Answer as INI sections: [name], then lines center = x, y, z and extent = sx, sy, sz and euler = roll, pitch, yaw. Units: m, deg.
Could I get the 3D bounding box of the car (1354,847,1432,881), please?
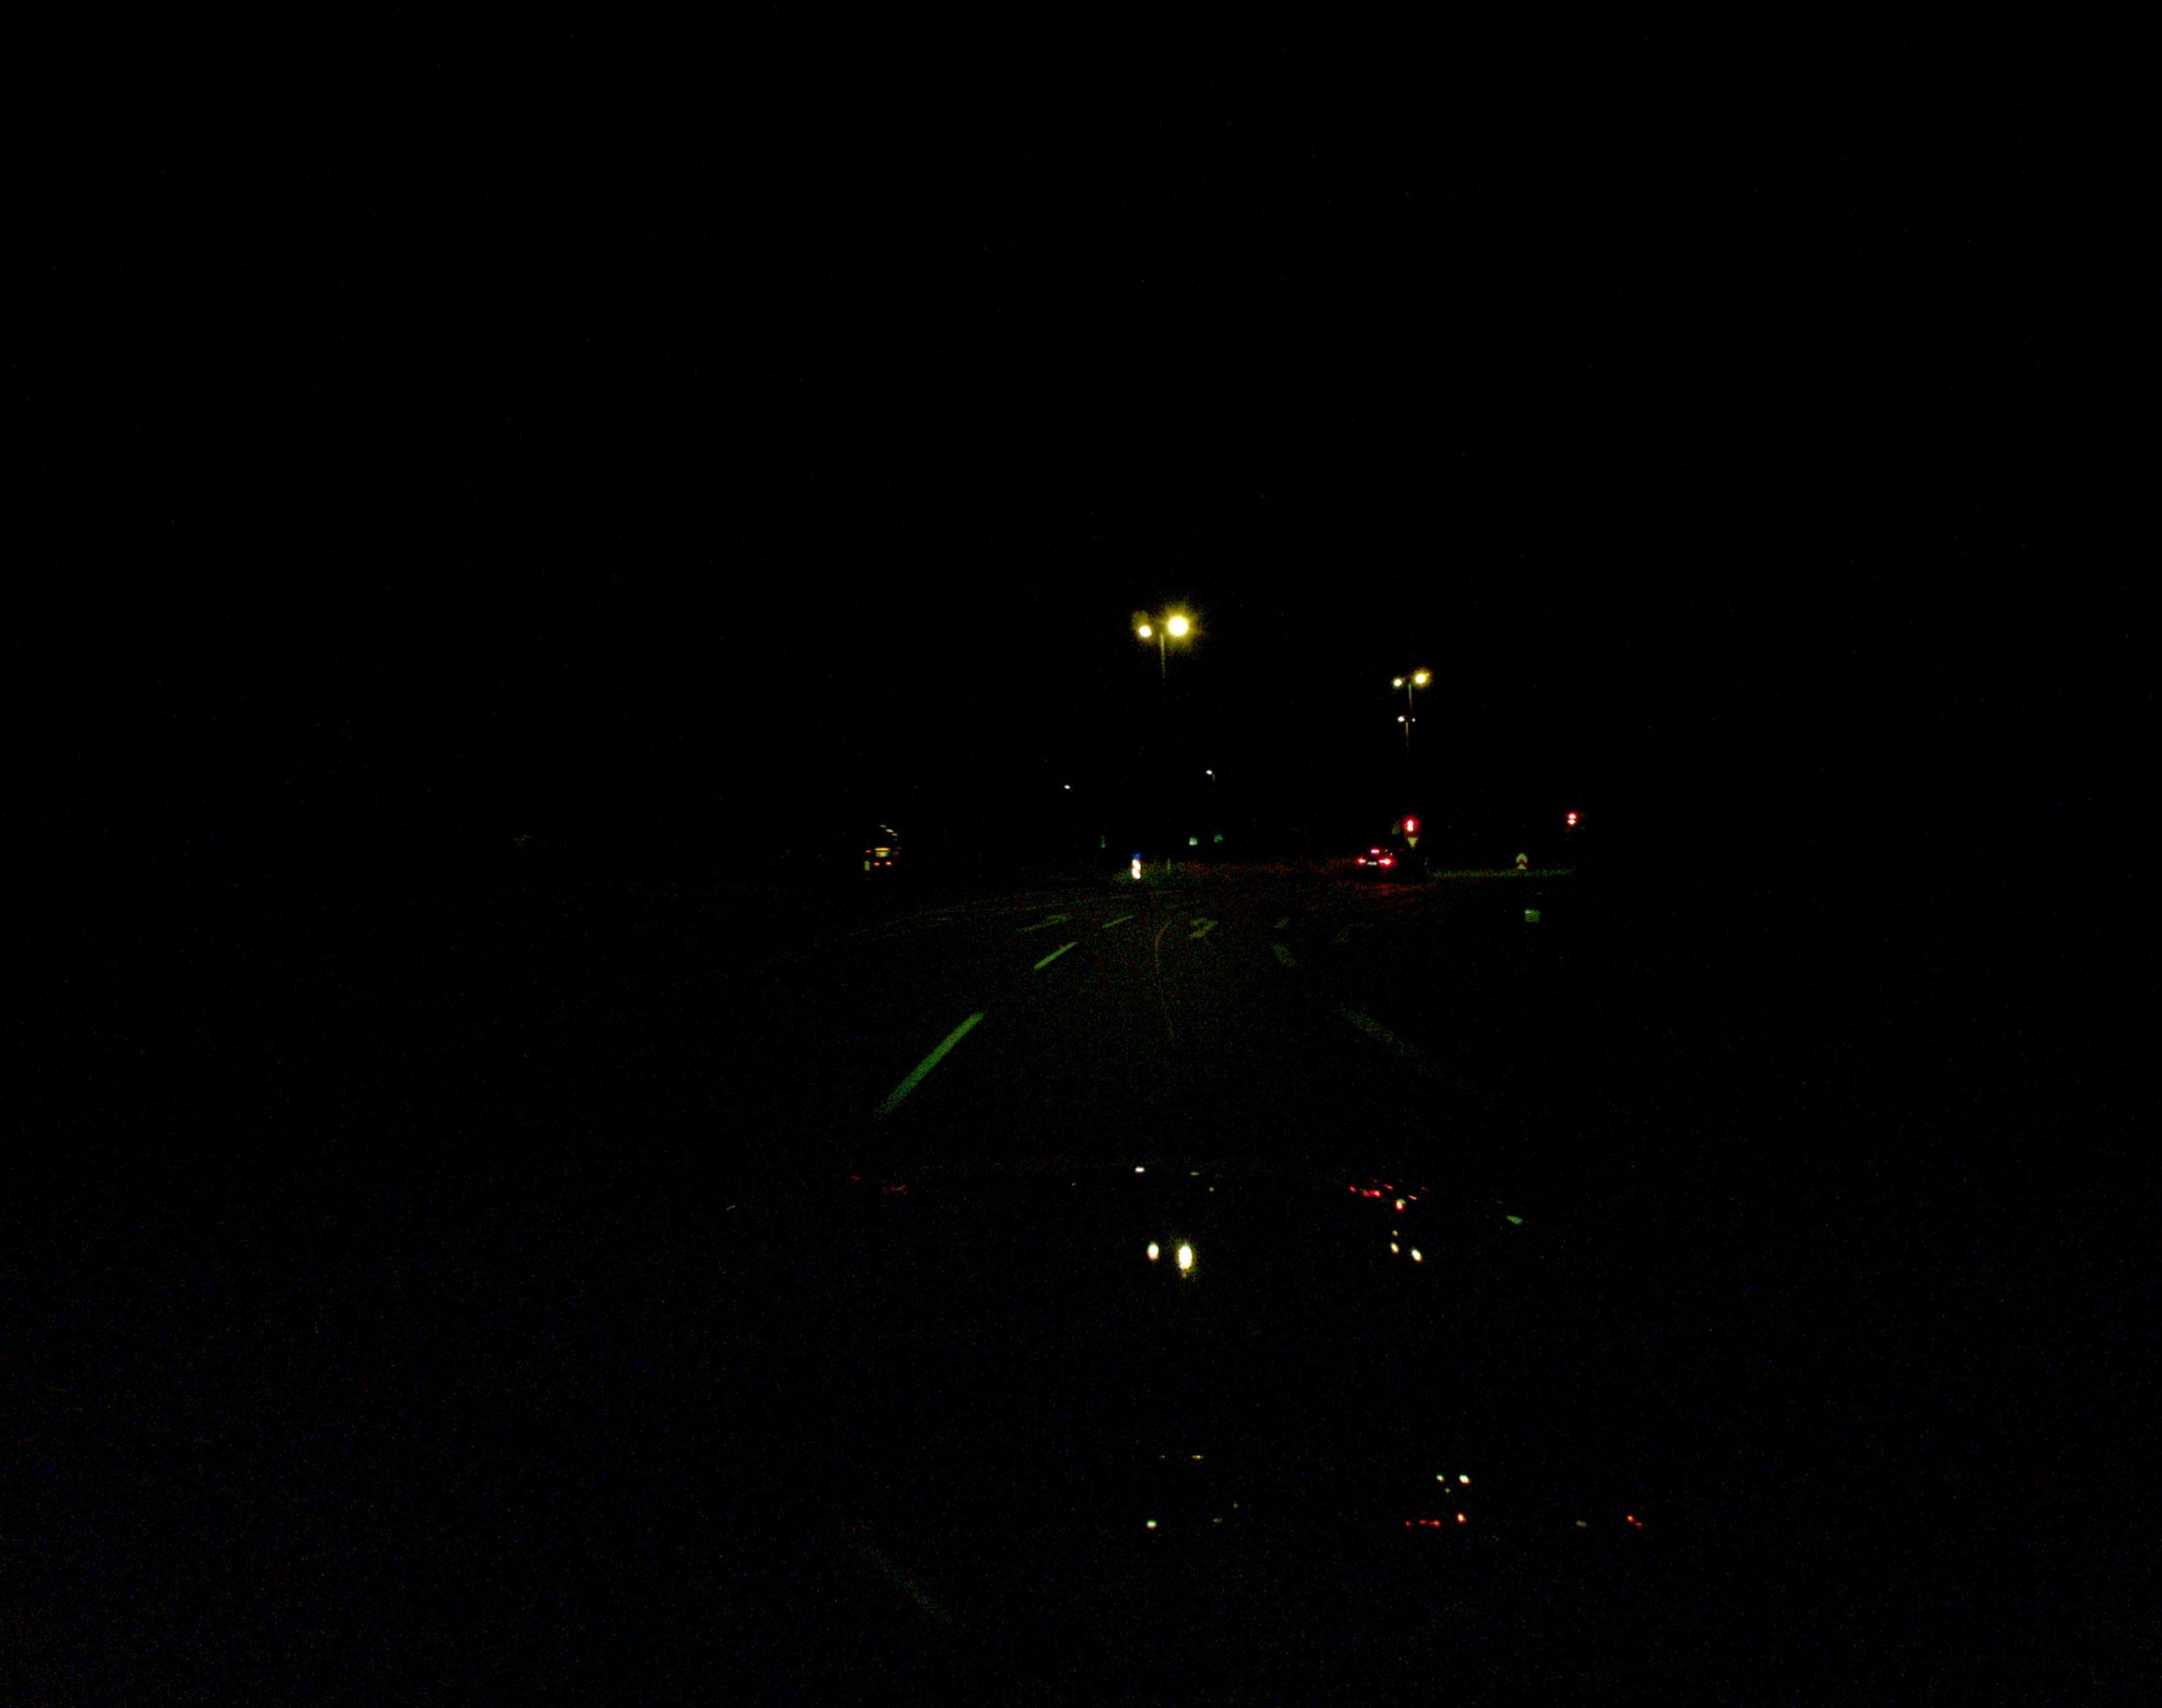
[car]
center = 15.526, 0.468, 40.468
extent = 4.026, 1.582, 1.837
euler = 0, 1, -38
